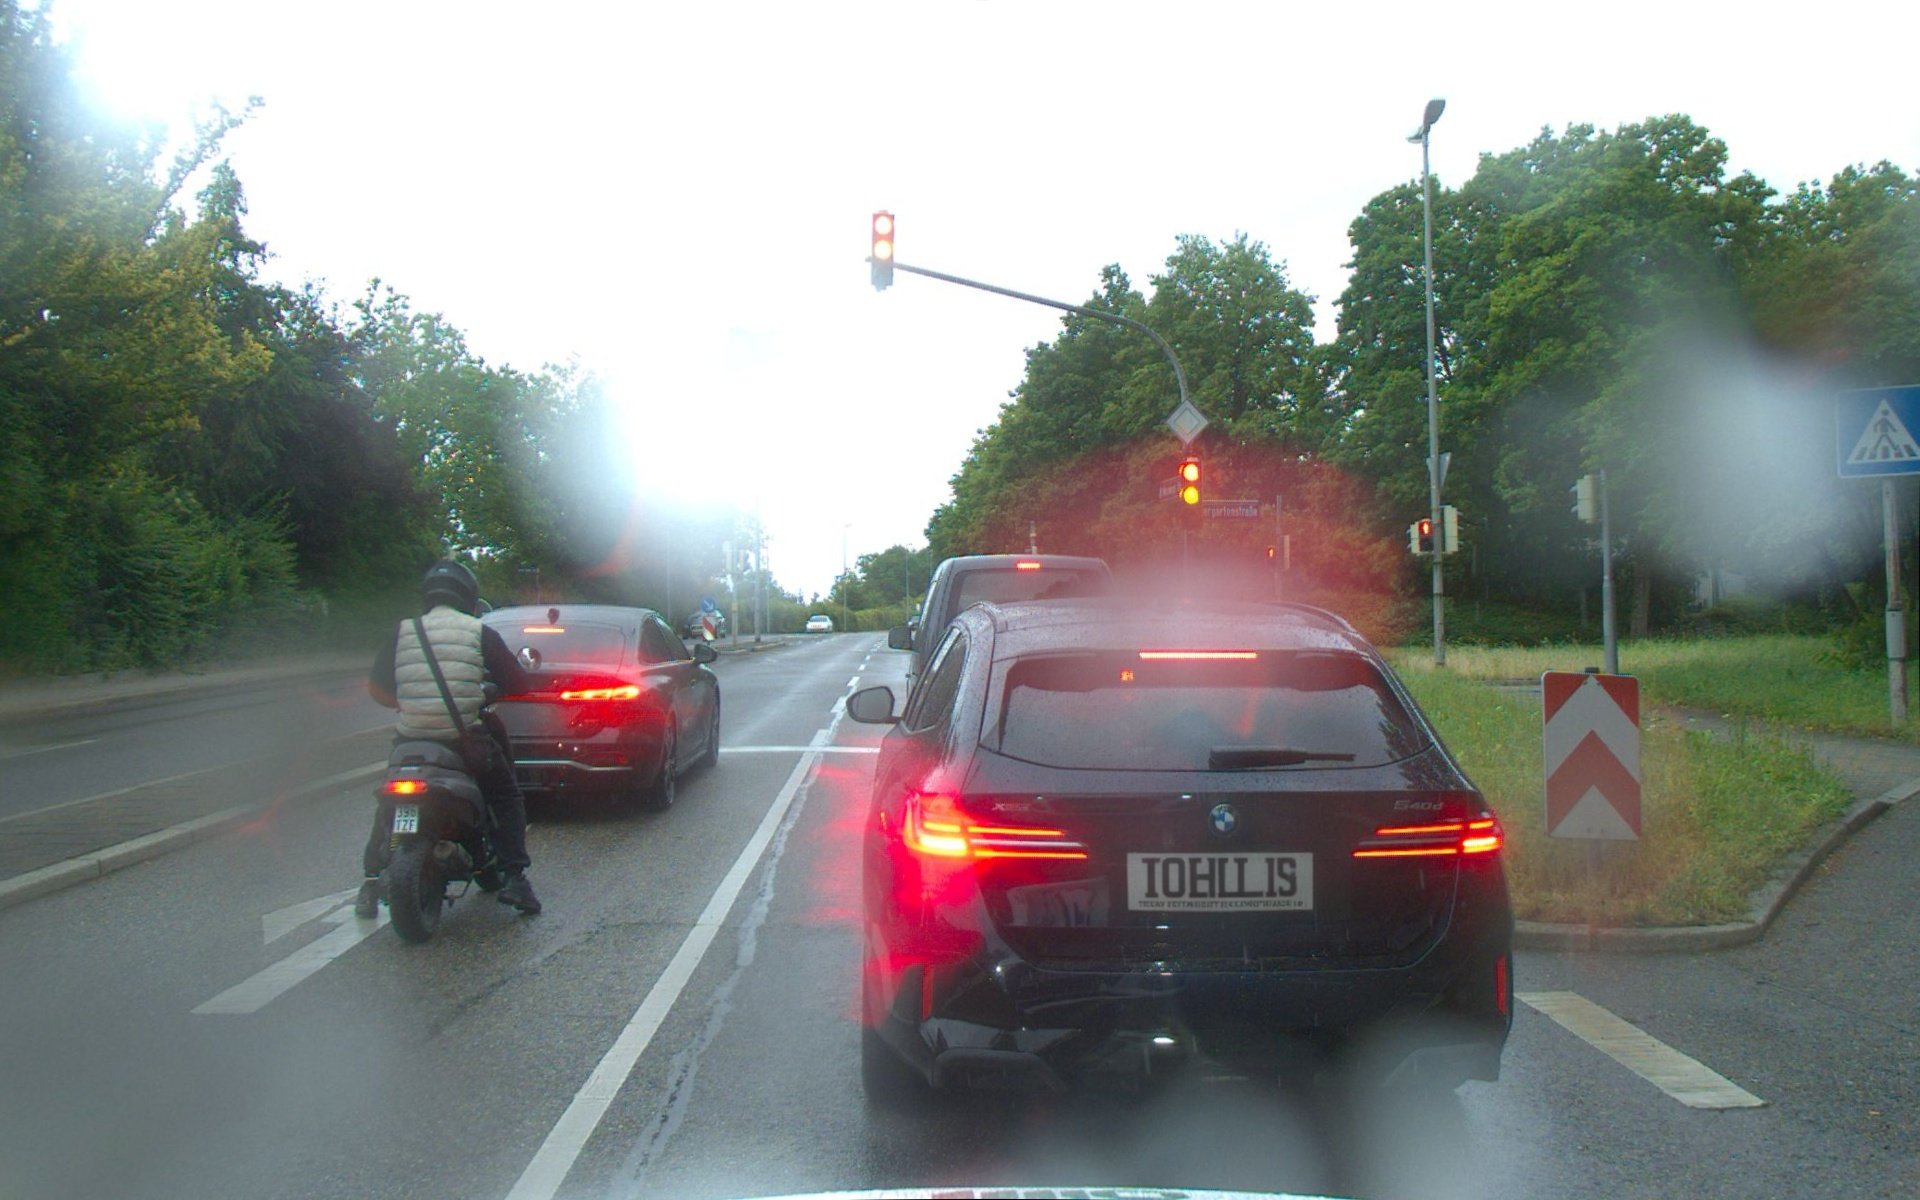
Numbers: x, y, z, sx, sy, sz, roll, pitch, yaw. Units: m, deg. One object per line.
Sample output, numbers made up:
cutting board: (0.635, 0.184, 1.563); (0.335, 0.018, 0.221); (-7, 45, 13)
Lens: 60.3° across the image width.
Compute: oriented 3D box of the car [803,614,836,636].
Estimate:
car: (-11.303, 2.025, 133.676); (1.951, 1.639, 3.674); (-2, -1, 6)

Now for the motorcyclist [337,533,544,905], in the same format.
motorcyclist: (-2.423, 0.541, 7.786); (0.749, 1.671, 0.674); (0, -1, -2)

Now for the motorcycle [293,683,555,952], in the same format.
motorcycle: (-2.459, 0.956, 7.810); (0.677, 1.071, 1.747); (1, -1, -1)

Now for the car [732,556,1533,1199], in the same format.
car: (0.507, 0.733, 6.172); (1.858, 1.578, 4.616); (0, -1, 3)

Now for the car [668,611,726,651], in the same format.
car: (-12.908, 1.508, 81.244); (1.952, 1.858, 4.001); (-2, -1, 3)

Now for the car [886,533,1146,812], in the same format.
car: (0.379, 0.512, 13.348); (1.781, 1.901, 3.952); (0, 0, 0)

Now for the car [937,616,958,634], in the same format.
car: (-1.073, 2.119, 142.438); (1.663, 1.452, 3.513); (-2, 0, 0)

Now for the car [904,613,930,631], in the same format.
car: (-4.486, 2.313, 173.074); (2.061, 1.795, 4.871); (-2, -1, 6)

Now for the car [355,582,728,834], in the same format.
car: (-3.030, 0.718, 12.958); (1.954, 1.554, 4.325); (-2, 0, -3)

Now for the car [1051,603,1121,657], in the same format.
car: (3.964, 0.920, 52.464); (1.835, 1.569, 3.952); (-2, 0, 0)
